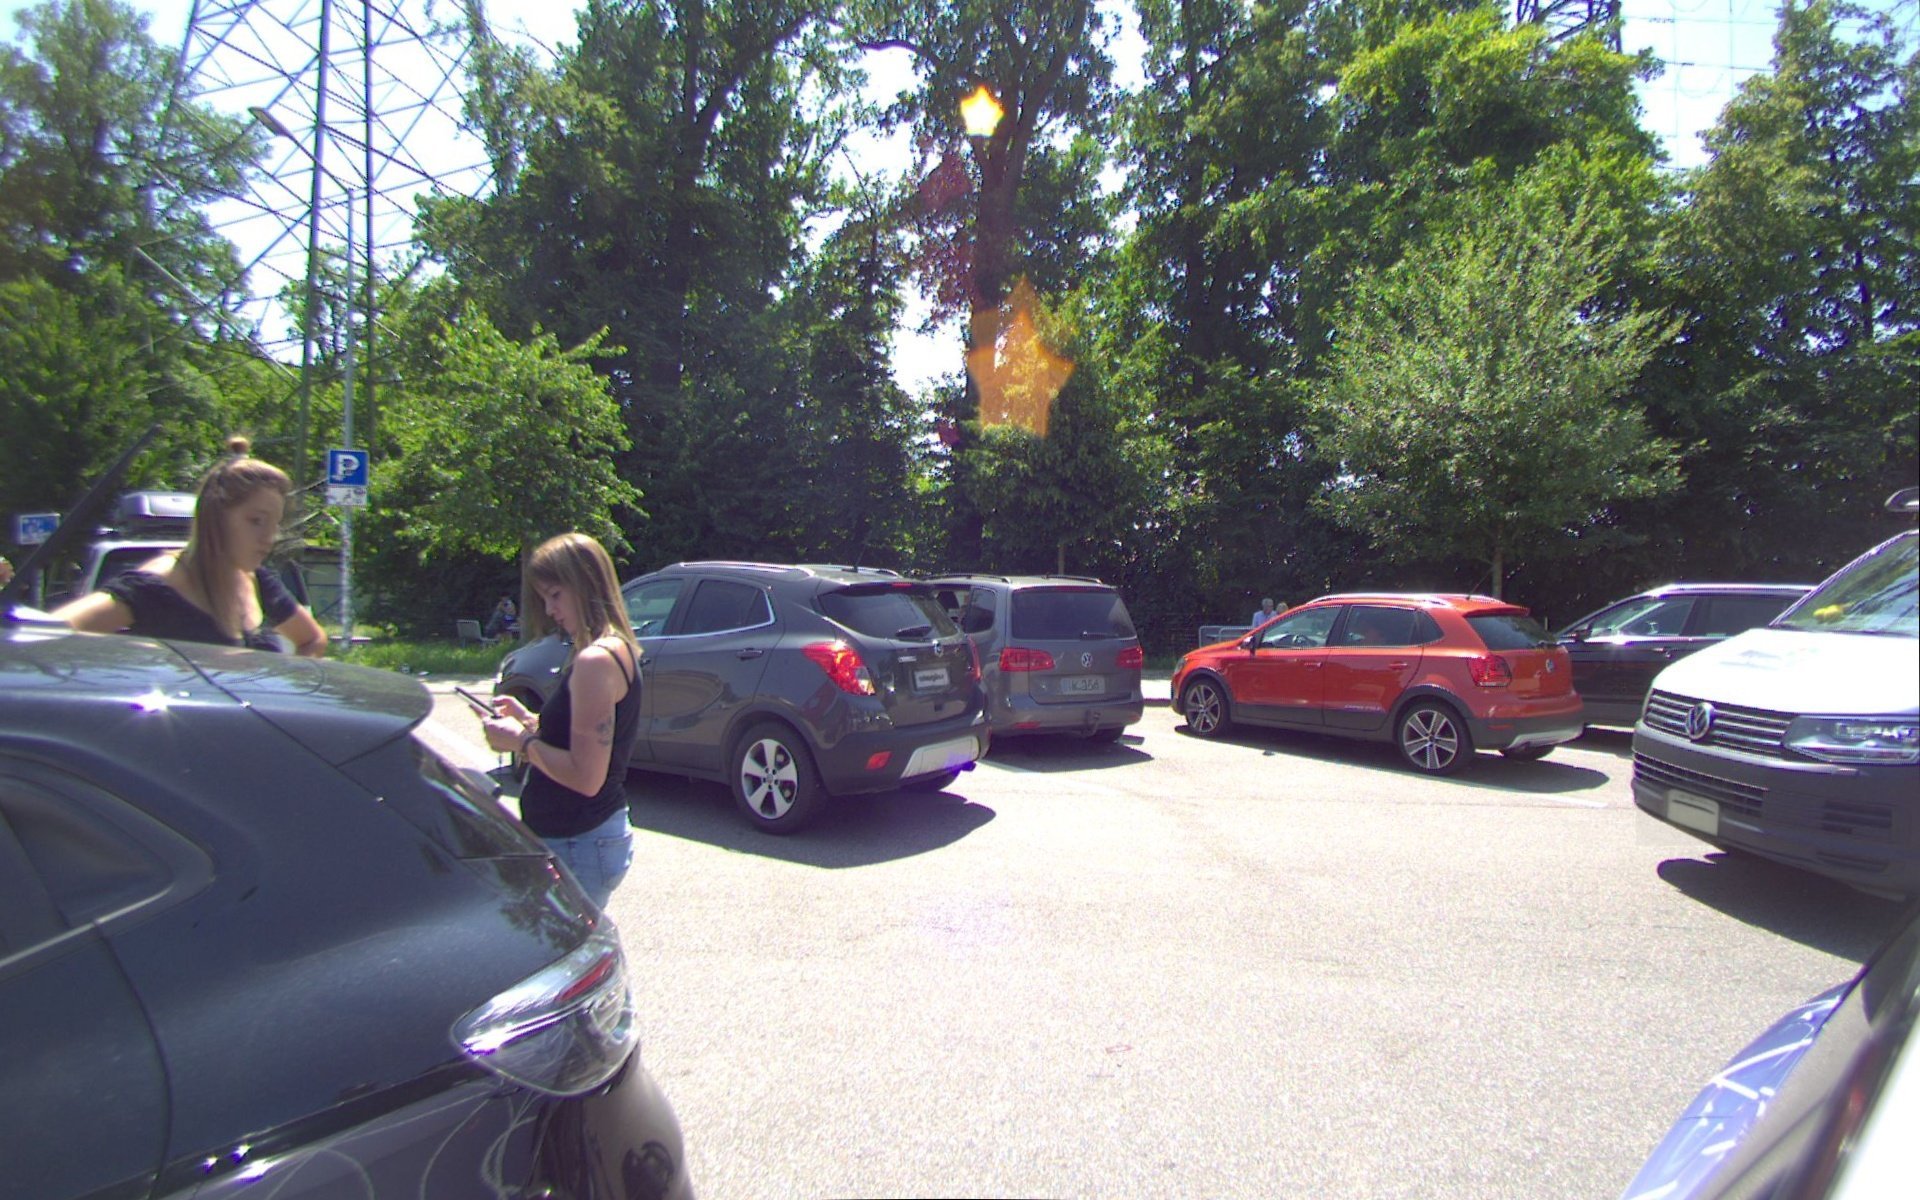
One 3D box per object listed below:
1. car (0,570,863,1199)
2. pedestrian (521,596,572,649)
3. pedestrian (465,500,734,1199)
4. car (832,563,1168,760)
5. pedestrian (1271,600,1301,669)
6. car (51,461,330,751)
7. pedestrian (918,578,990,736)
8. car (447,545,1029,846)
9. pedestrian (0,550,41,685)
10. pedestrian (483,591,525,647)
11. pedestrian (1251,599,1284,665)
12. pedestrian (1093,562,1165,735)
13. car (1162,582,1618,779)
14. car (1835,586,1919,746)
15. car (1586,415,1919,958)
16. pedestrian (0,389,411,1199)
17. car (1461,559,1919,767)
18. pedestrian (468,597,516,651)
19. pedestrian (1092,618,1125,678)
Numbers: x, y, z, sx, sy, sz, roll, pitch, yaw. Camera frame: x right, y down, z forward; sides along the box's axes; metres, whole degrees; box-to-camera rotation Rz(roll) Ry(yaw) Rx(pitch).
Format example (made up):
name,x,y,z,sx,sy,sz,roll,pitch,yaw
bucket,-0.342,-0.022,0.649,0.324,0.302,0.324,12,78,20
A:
name,x,y,z,sx,sy,sz,roll,pitch,yaw
car,-2.030,0.721,0.783,1.777,1.476,3.627,0,1,44
pedestrian,-9.634,0.502,23.595,0.810,1.201,0.836,0,0,40
pedestrian,-0.936,0.582,2.624,0.477,1.614,0.502,1,-1,-44
car,0.206,0.502,10.539,1.670,1.637,3.912,0,0,-30
pedestrian,5.742,0.601,17.846,0.348,1.207,0.367,0,0,-20
car,-8.413,0.037,10.856,1.897,2.400,4.963,1,-1,-43
pedestrian,-0.064,0.542,10.056,0.511,1.516,0.560,0,0,-30
car,-1.735,0.504,7.425,4.137,1.637,1.817,1,0,33
pedestrian,-13.857,0.245,14.429,0.826,1.903,0.775,0,0,6
pedestrian,-11.023,0.443,24.482,0.539,1.318,0.758,0,0,37
pedestrian,5.776,0.591,19.025,0.433,1.207,0.414,0,0,-30
pedestrian,1.756,0.486,10.542,0.576,1.744,0.483,0,0,-20
car,3.854,0.606,9.645,1.588,1.485,3.751,1,0,-34
car,10.326,0.629,8.837,1.813,1.473,3.776,1,0,-36
car,6.224,0.358,4.701,5.336,2.131,1.842,1,1,4
pedestrian,-1.847,0.506,2.564,0.477,1.883,0.914,1,-1,-7
car,7.159,0.491,9.743,1.679,1.637,3.863,1,0,-40
pedestrian,-10.501,0.529,22.701,0.785,1.178,0.696,0,0,39
pedestrian,2.313,0.740,15.772,0.494,0.890,0.512,1,-1,10
